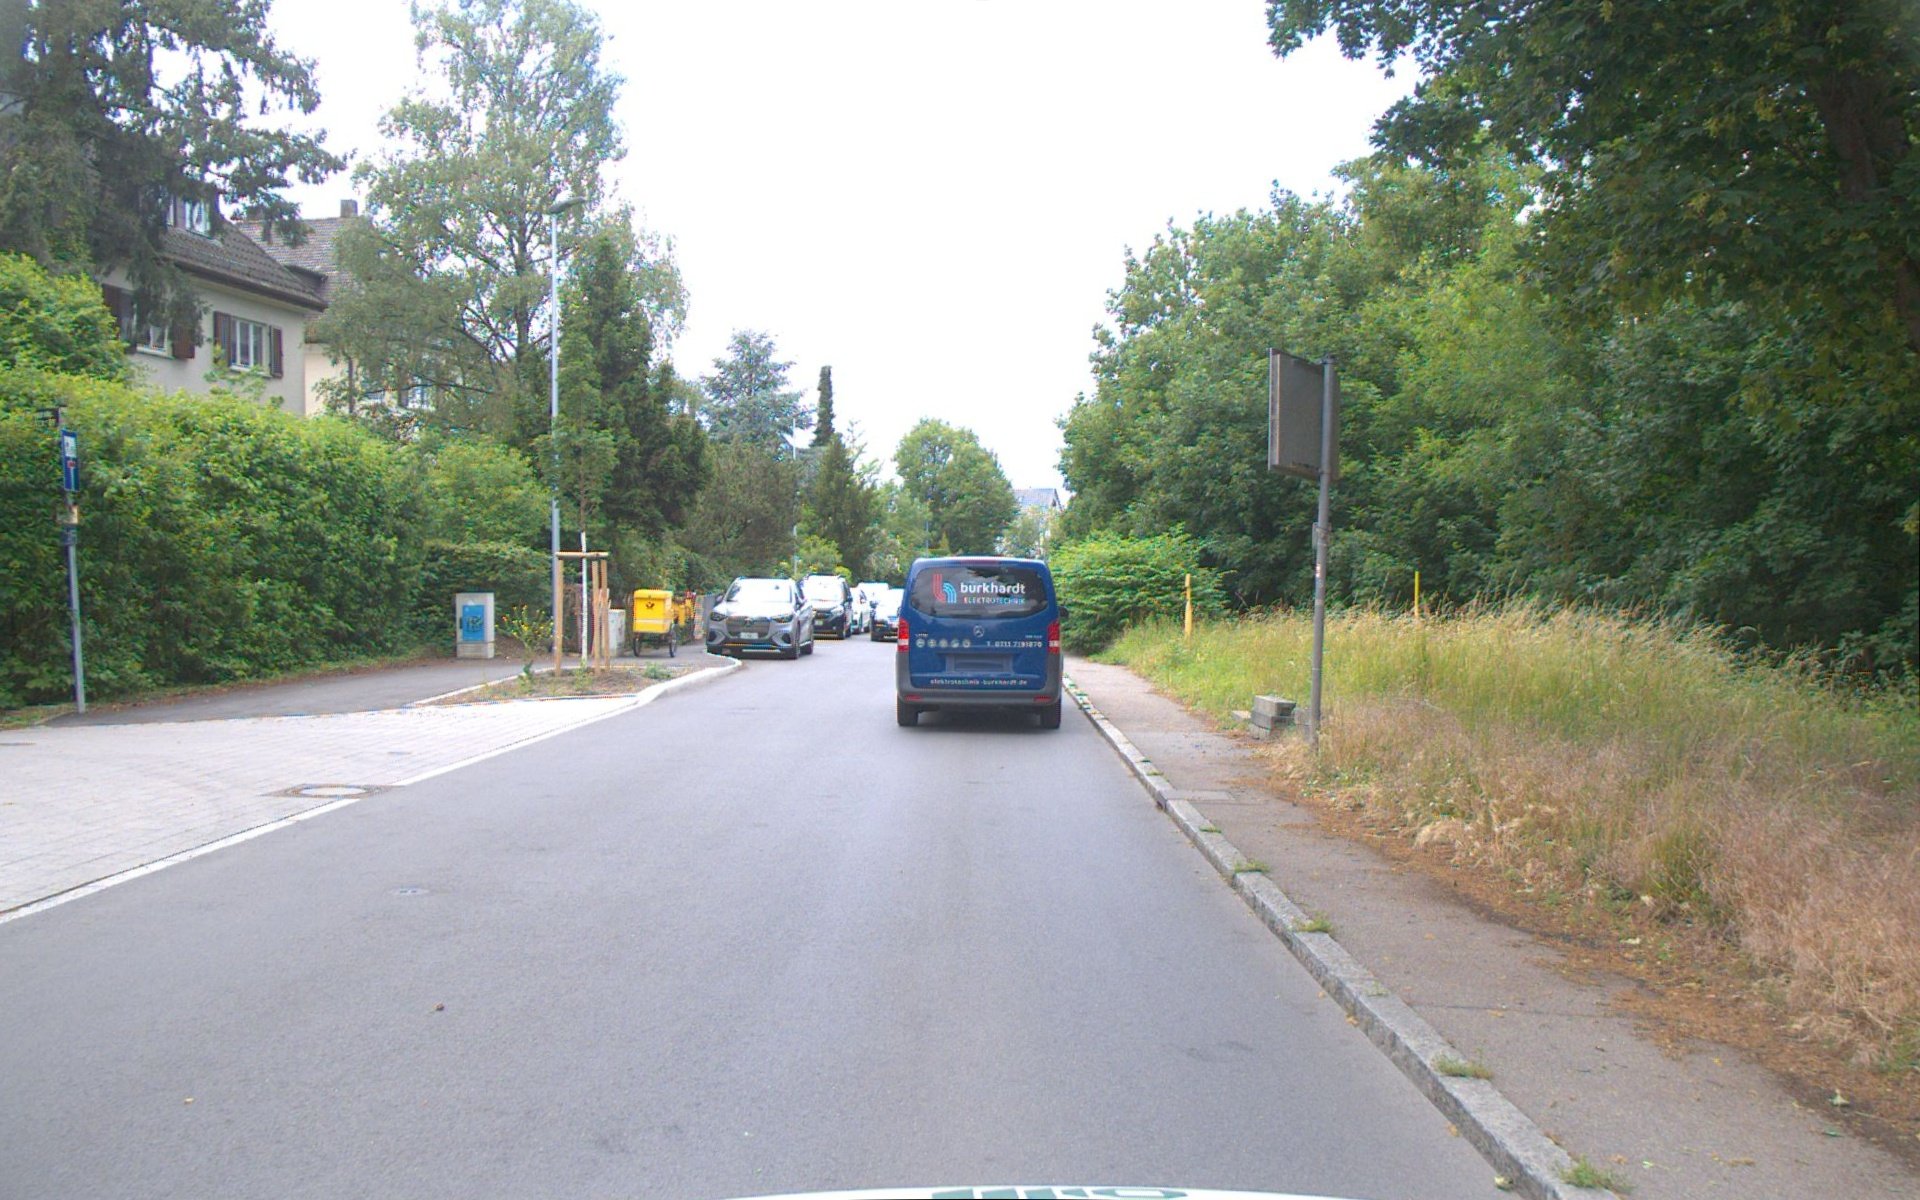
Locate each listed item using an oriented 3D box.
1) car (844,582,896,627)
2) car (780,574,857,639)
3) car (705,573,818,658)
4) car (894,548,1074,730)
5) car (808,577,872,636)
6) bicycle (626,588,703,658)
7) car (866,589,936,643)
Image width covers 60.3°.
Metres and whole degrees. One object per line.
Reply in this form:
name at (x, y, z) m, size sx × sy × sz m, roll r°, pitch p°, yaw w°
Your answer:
car at (-3.772, 0.167, 69.835) m, size 1.853 × 1.721 × 4.550 m, roll 1°, pitch 2°, yaw 1°
car at (-4.086, 0.162, 48.188) m, size 1.794 × 1.782 × 4.001 m, roll 1°, pitch 1°, yaw 1°
car at (-4.160, 0.304, 35.285) m, size 1.798 × 1.659 × 4.301 m, roll 1°, pitch 0°, yaw 1°
car at (0.183, 0.353, 19.449) m, size 1.851 × 1.876 × 3.999 m, roll 1°, pitch 2°, yaw -2°
car at (-3.909, 0.206, 54.355) m, size 1.794 × 1.836 × 3.999 m, roll 1°, pitch 0°, yaw 0°
bicycle at (-5.748, 0.424, 32.358) m, size 0.887 × 1.273 × 2.916 m, roll 2°, pitch 0°, yaw 1°
car at (-1.676, 0.432, 48.094) m, size 1.782 × 1.469 × 4.001 m, roll 1°, pitch 0°, yaw 1°
